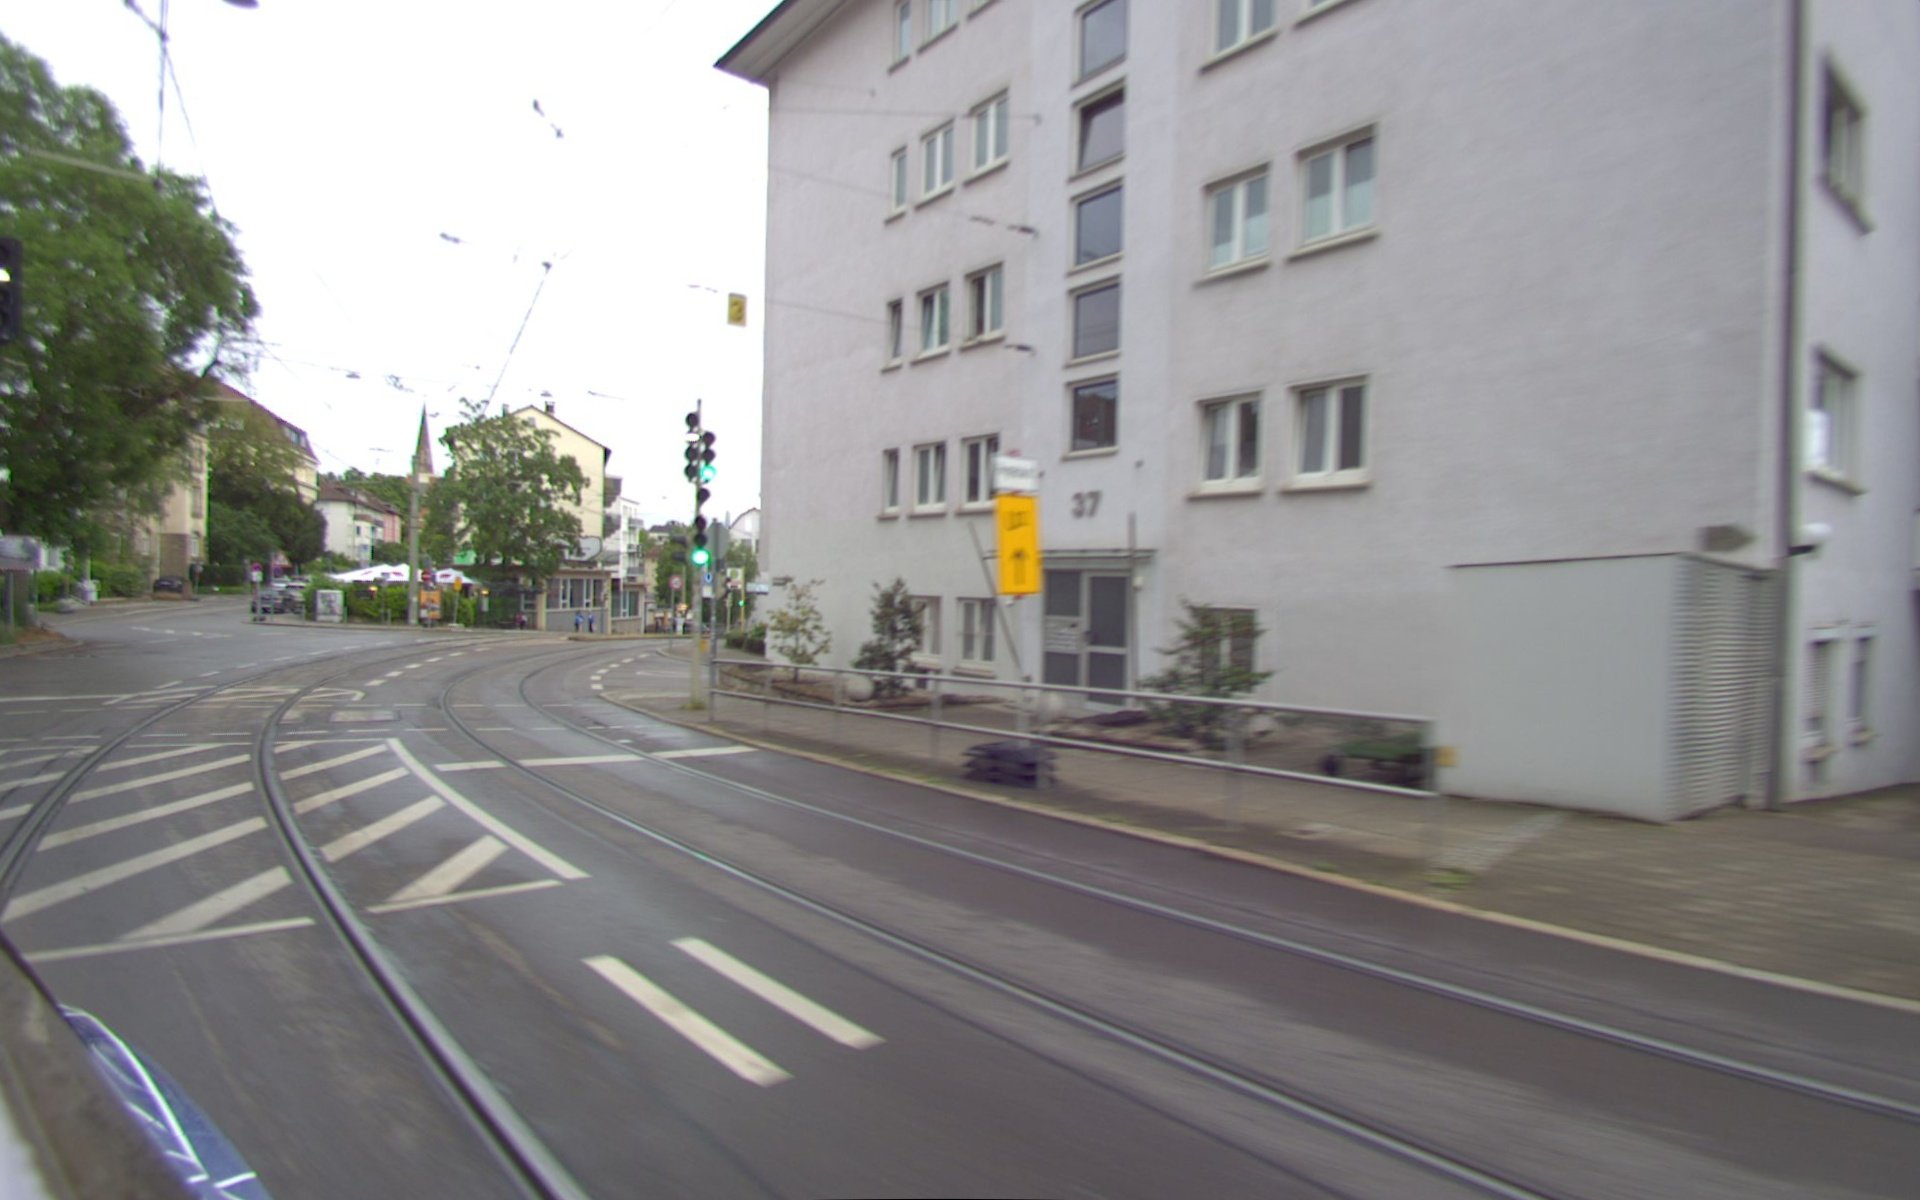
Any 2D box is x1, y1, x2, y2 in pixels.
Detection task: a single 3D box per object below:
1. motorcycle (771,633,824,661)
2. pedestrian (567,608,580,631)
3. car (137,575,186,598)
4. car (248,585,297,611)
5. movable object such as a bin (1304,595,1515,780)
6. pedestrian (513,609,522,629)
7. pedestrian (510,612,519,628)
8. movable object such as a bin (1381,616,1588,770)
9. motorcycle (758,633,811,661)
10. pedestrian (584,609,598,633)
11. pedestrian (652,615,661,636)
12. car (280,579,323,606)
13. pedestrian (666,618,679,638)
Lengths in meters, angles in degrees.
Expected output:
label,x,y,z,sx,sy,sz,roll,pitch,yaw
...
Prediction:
label,x,y,z,sx,sy,sz,roll,pitch,yaw
motorcycle,-6.116,1.789,38.243,0.485,1.057,2.093,-3,-5,44
pedestrian,-26.403,1.344,69.203,0.540,1.565,0.558,3,-3,4
car,-56.197,-0.929,71.279,1.572,1.351,3.645,1,-3,-19
car,-41.294,-0.129,60.861,1.664,1.453,3.817,3,-1,-22
movable object such as a bin,3.957,0.741,8.954,1.170,1.473,1.292,3,-4,-38
pedestrian,-27.275,1.180,62.393,0.321,1.159,0.317,4,-3,3
pedestrian,-27.297,1.229,62.049,0.321,1.002,0.317,4,-3,3
movable object such as a bin,5.075,0.863,9.817,1.351,1.346,1.328,3,-4,-39
motorcycle,-6.709,1.807,38.785,0.485,1.057,2.093,-2,-3,44
pedestrian,-25.286,1.444,69.298,0.583,1.565,0.648,3,-3,6
pedestrian,-25.472,2.130,84.944,0.573,1.727,0.613,0,-3,2
car,-43.850,-0.460,67.488,1.664,1.703,3.817,3,-1,-22
pedestrian,-24.846,2.421,87.417,0.714,1.727,0.605,3,-3,15
